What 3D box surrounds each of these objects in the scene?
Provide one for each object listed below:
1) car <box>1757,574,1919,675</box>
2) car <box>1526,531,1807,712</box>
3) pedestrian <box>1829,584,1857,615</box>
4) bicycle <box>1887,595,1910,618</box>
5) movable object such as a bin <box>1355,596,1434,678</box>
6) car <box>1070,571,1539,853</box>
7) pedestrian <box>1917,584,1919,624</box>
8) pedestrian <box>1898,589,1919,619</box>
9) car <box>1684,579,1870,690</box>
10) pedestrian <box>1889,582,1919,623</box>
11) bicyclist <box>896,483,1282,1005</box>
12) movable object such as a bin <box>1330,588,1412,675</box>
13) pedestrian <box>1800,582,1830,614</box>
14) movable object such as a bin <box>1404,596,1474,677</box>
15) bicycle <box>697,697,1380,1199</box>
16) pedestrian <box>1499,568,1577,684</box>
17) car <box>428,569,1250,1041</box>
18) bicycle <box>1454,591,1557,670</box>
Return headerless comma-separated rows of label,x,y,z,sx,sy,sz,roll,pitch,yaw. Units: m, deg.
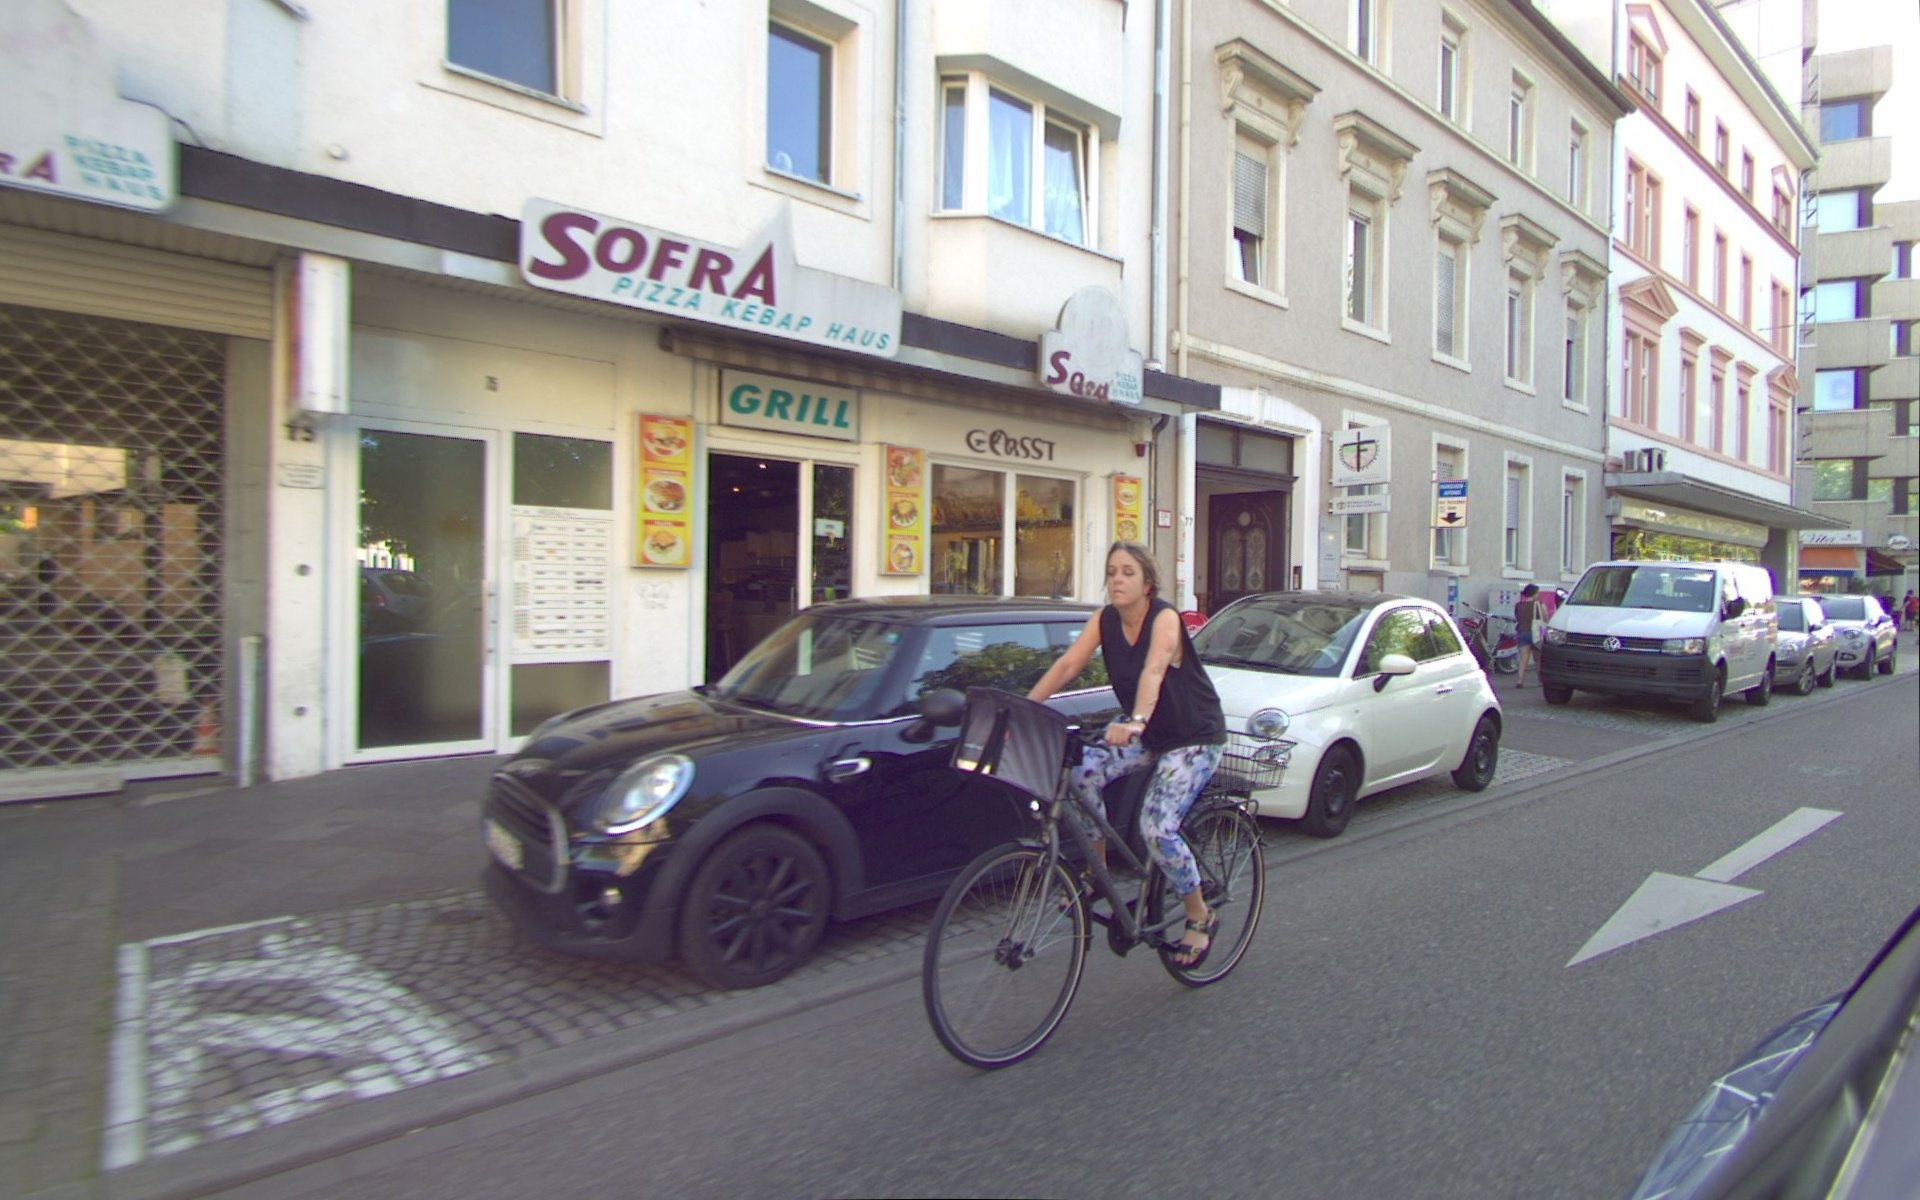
car,17.681,0.407,20.243,4.873,1.760,1.748,-2,0,-40
car,9.737,0.222,13.763,5.028,2.030,1.997,0,1,-41
pedestrian,38.859,-0.040,44.552,0.840,1.308,0.820,3,3,39
bicycle,43.173,0.293,46.551,1.615,1.047,0.564,-2,0,-39
movable object such as a bin,6.302,0.514,14.688,0.648,1.089,0.797,-1,4,-37
car,2.669,0.587,7.536,3.520,1.533,1.722,-2,4,-40
pedestrian,41.909,0.167,43.771,0.685,1.736,0.585,-1,0,-36
pedestrian,41.947,0.179,44.680,0.613,1.251,0.632,-1,3,-36
car,13.690,0.478,16.898,3.690,1.624,1.703,-2,2,-39
pedestrian,40.803,0.094,43.650,0.834,1.731,0.714,2,2,23
bicyclist,0.456,0.395,3.506,1.076,1.471,0.787,-1,0,-40
movable object such as a bin,5.771,0.422,14.223,0.686,1.151,0.841,-1,2,-36
pedestrian,38.112,-0.084,45.121,0.835,1.420,0.824,0,-1,26
movable object such as a bin,7.296,0.538,15.432,0.568,1.175,0.770,-1,0,-36
bicycle,0.477,0.956,3.487,2.651,0.970,0.653,-2,0,-41
pedestrian,8.678,0.370,15.203,0.450,1.625,0.752,-1,7,-39
car,-0.389,0.611,5.012,3.718,1.466,1.682,-2,0,-39
bicycle,8.944,0.484,16.596,1.684,1.200,0.486,-1,3,-21
